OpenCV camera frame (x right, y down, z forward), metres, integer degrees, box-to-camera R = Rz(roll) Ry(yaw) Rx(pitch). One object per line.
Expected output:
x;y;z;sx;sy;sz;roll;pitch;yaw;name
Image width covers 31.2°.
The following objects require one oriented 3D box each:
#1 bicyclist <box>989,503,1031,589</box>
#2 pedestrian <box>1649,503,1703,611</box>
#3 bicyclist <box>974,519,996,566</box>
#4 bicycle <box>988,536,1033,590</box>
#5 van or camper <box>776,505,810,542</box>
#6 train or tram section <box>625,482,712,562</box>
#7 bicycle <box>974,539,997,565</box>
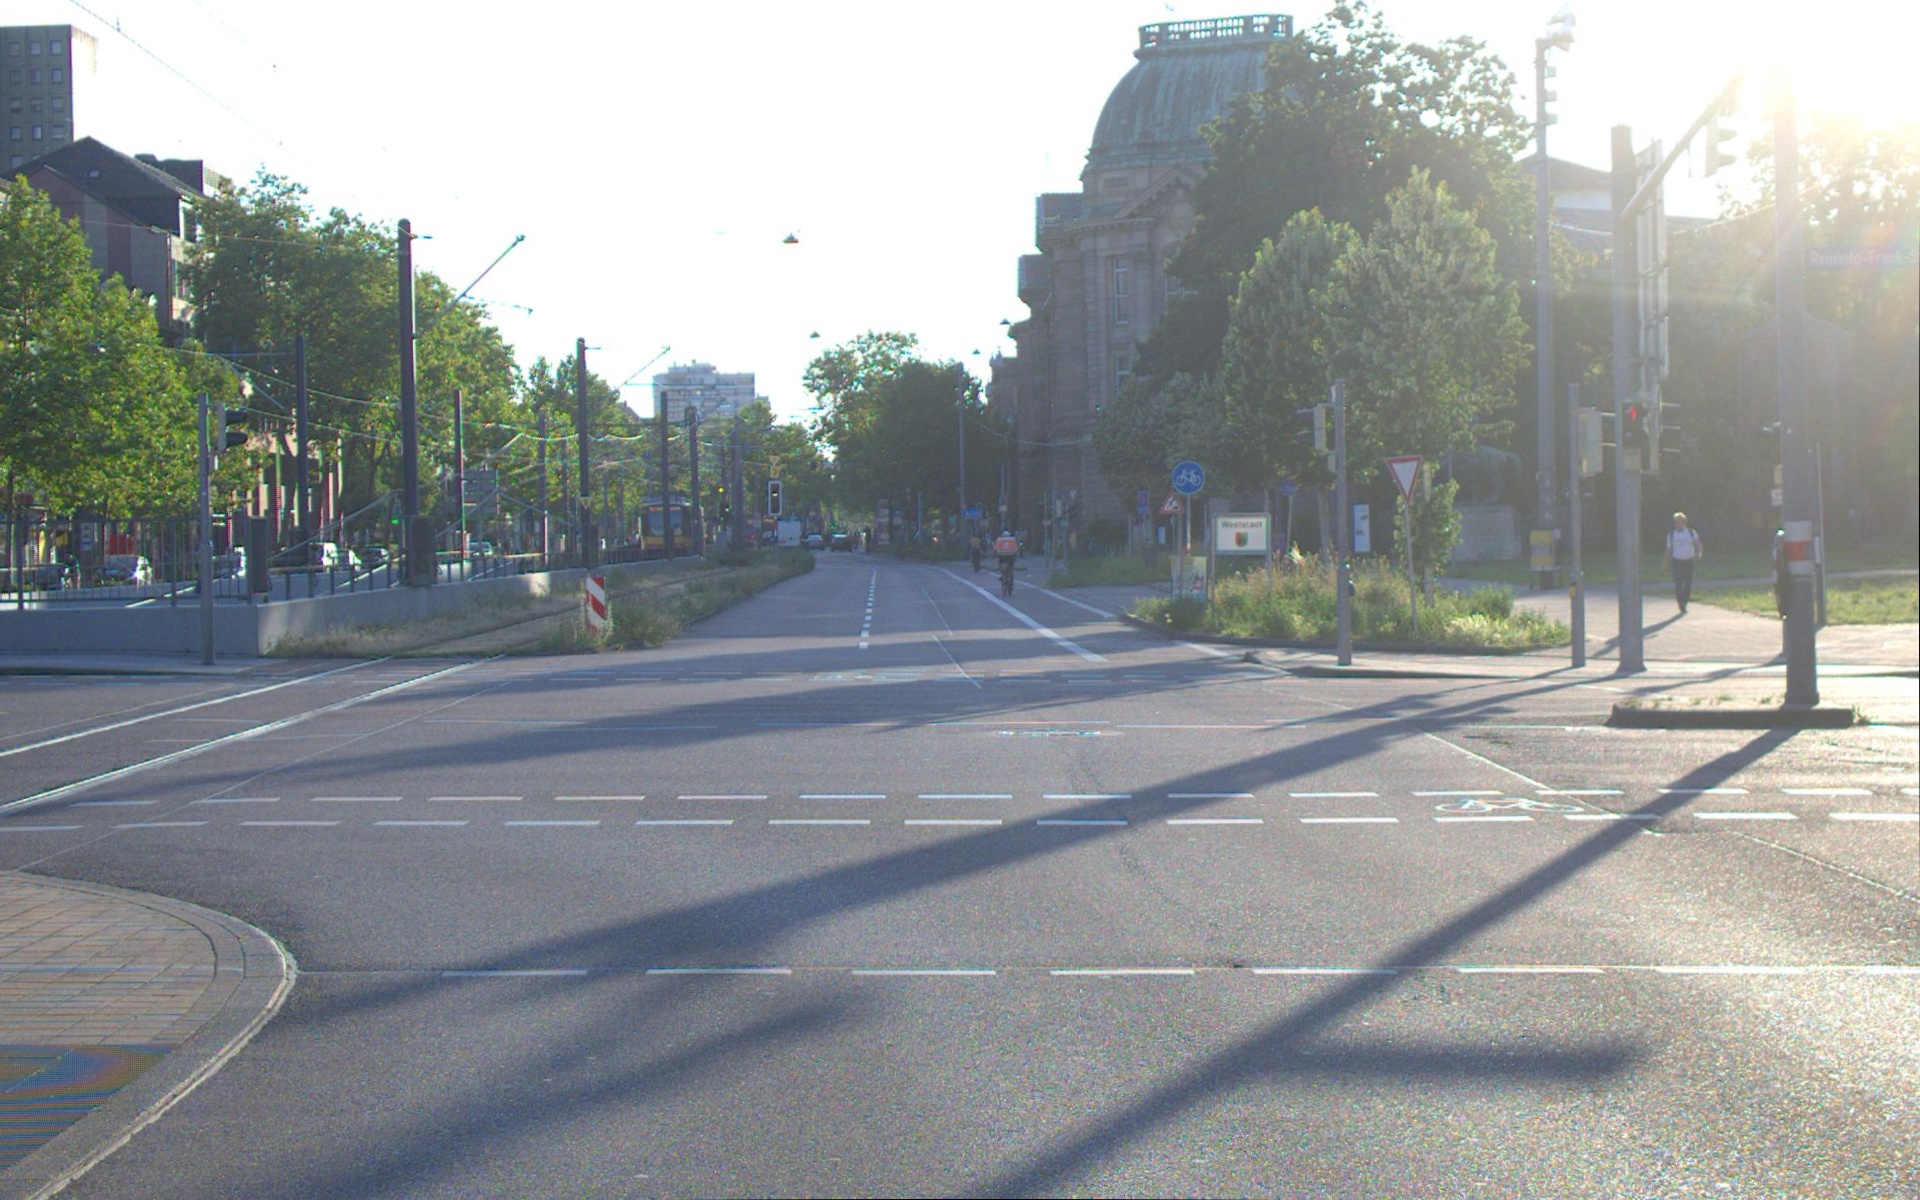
1.334;-1.432;91.551;1.082;2.268;0.986;0;1;-1;bicyclist
12.031;-0.730;57.752;0.833;1.797;0.810;-1;1;15;pedestrian
1.091;-2.500;148.423;0.925;2.007;0.850;-1;1;-1;bicyclist
1.344;-1.002;91.581;1.098;1.394;2.832;-1;1;-1;bicycle
-12.465;-5.707;256.891;2.449;2.761;5.601;-1;1;-2;van or camper
-15.441;-4.226;182.307;4.385;3.836;11.413;-1;3;-5;train or tram section
1.101;-2.075;148.434;0.924;1.108;2.333;-1;1;-1;bicycle
